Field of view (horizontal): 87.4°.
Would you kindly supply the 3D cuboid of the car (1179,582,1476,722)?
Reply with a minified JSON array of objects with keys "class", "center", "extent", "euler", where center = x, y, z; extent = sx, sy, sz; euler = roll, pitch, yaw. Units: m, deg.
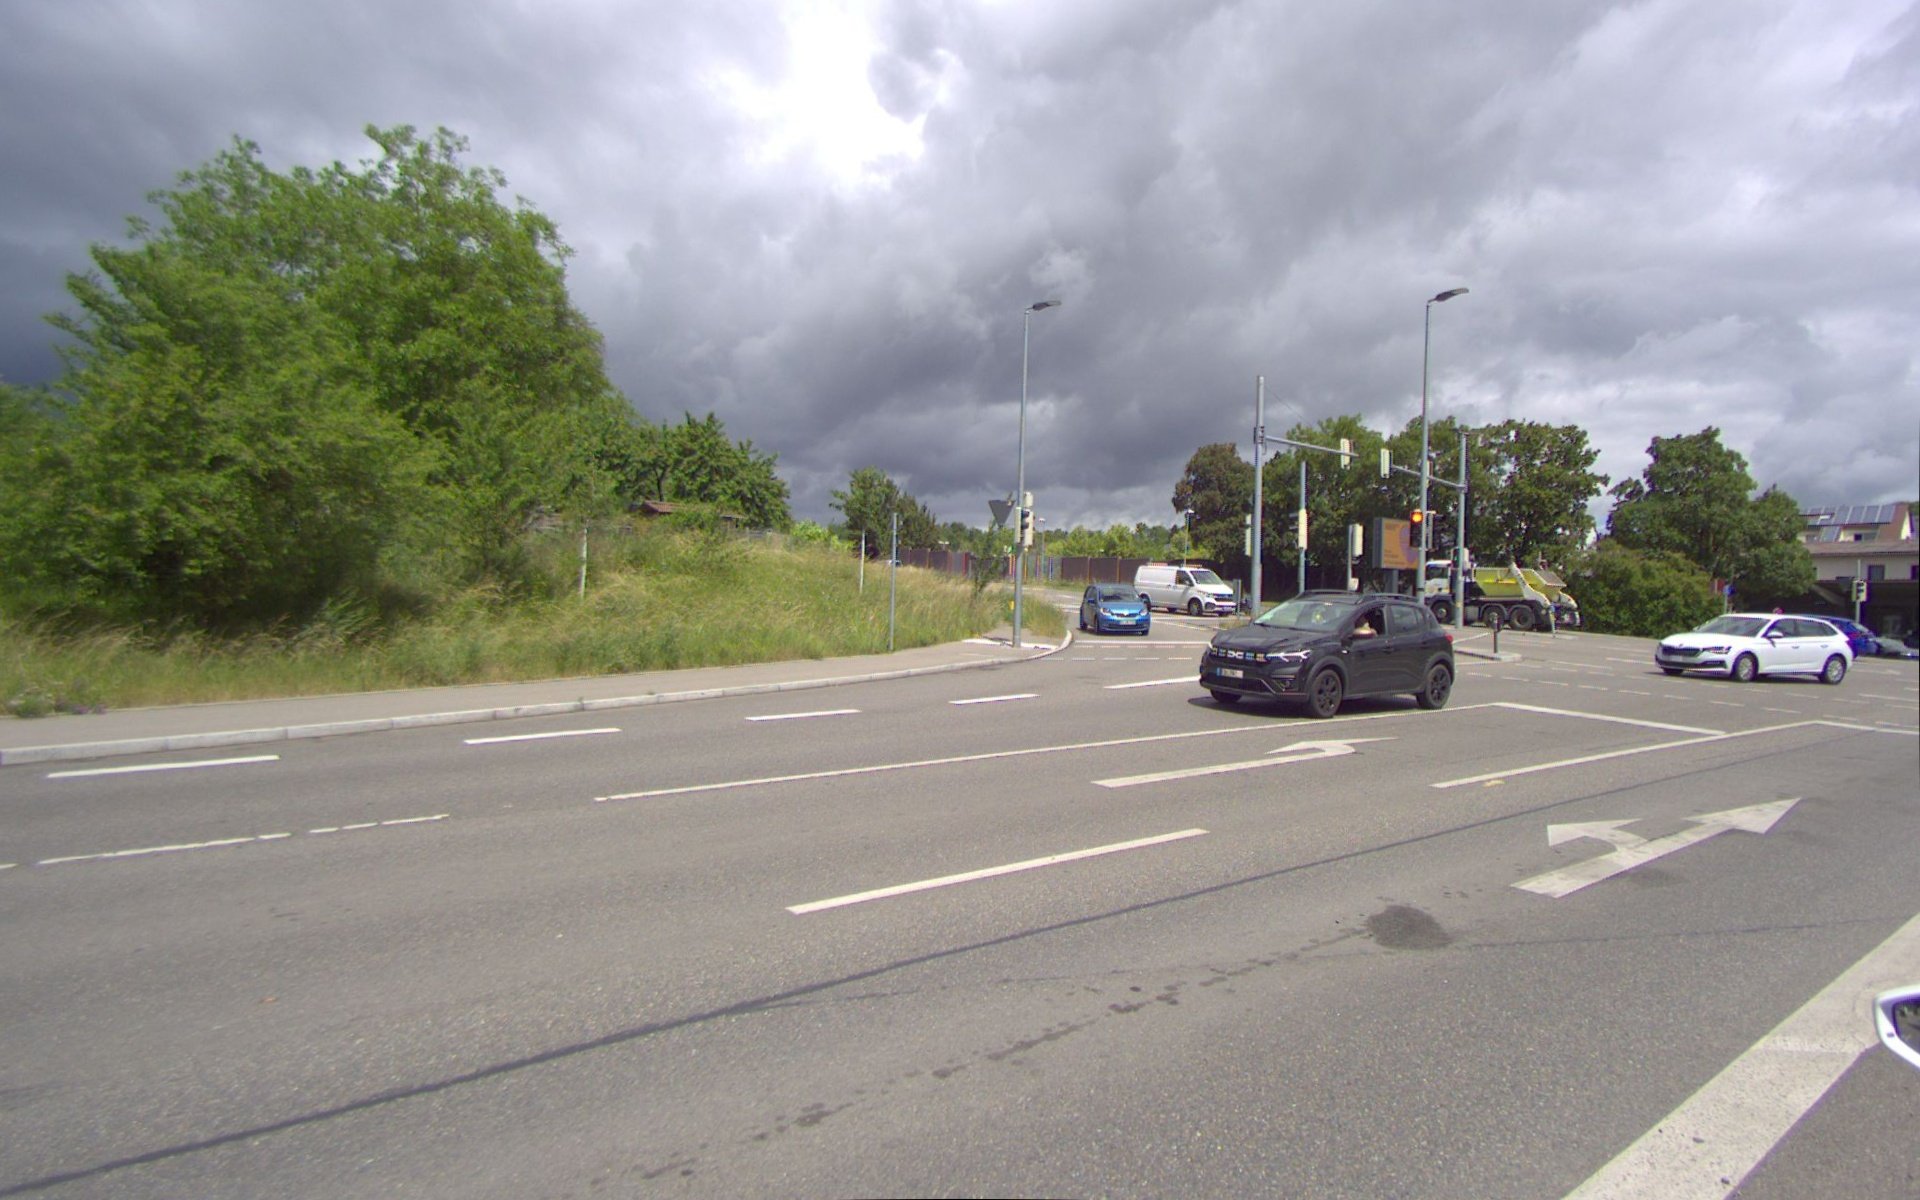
[{"class":"car","center":[5.126,0.635,13.838],"extent":[4.123,1.599,1.773],"euler":[1,3,-35]}]

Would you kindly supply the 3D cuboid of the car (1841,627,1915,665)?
[{"class":"car","center":[48.296,2.374,52.921],"extent":[1.708,1.674,3.850],"euler":[3,2,25]}]

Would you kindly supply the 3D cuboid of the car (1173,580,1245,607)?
[{"class":"car","center":[14.454,-0.393,58.445],"extent":[1.678,1.419,3.964],"euler":[2,1,-33]}]

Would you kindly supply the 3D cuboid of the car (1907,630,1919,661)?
[{"class":"car","center":[45.319,2.171,45.823],"extent":[1.664,1.419,3.998],"euler":[3,1,22]}]

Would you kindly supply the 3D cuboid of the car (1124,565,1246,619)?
[{"class":"car","center":[9.309,-0.354,42.006],"extent":[1.892,1.963,4.921],"euler":[1,3,-35]}]

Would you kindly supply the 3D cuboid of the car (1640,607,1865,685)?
[{"class":"car","center":[17.676,1.021,22.444],"extent":[4.304,1.489,1.617],"euler":[2,3,-14]}]

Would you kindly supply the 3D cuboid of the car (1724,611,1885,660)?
[{"class":"car","center":[29.482,1.219,35.191],"extent":[1.679,1.419,3.963],"euler":[2,1,-33]}]

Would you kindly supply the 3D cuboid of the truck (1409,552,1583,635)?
[{"class":"truck","center":[25.599,-0.150,48.291],"extent":[2.817,3.626,6.905],"euler":[2,-3,-33]}]

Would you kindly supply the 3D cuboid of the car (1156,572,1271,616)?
[{"class":"car","center":[11.253,-0.303,44.941],"extent":[1.892,1.657,4.921],"euler":[1,3,-35]}]

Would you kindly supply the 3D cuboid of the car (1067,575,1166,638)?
[{"class":"car","center":[4.801,0.141,31.475],"extent":[1.875,1.659,4.442],"euler":[2,2,-7]}]
